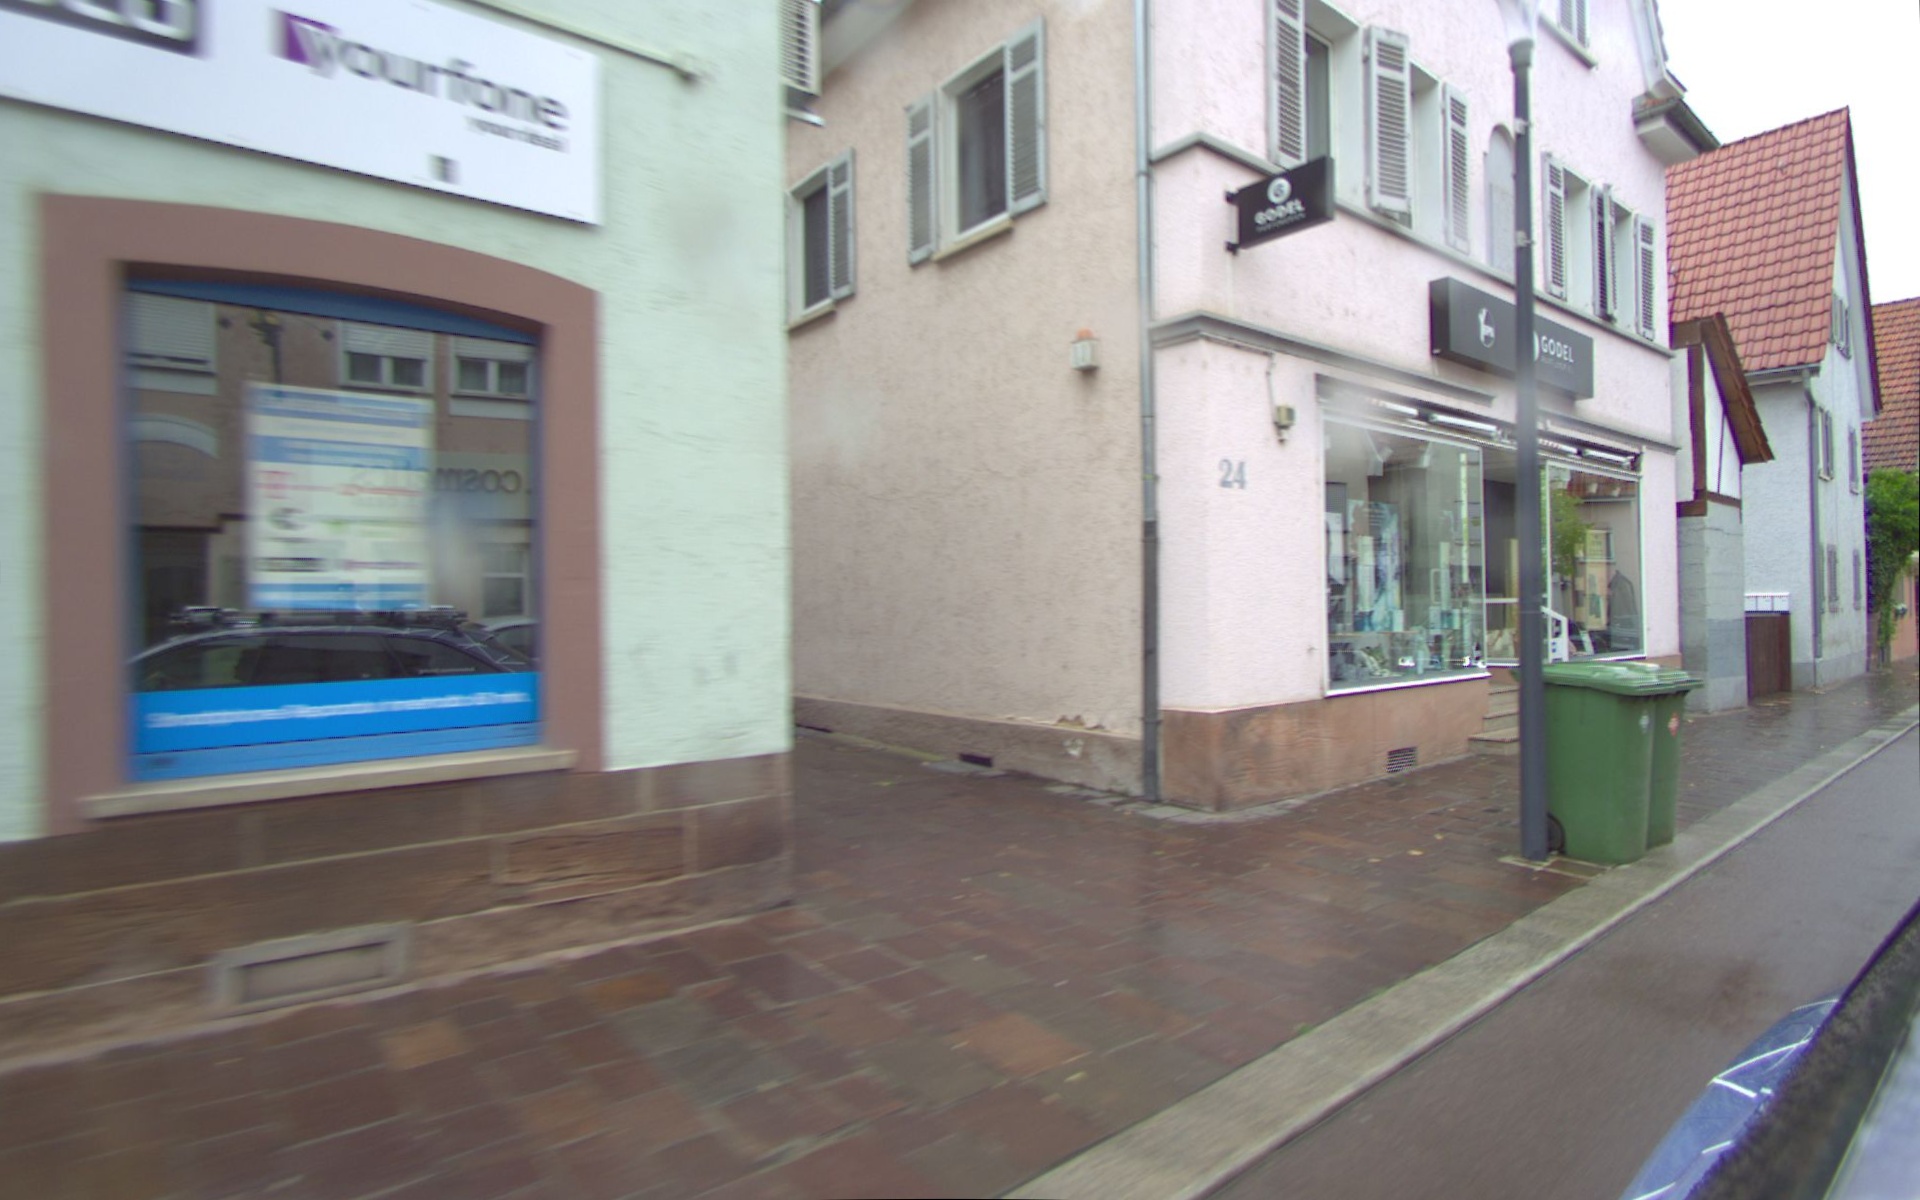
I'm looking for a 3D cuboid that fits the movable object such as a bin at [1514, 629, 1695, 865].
[{"bbox_3d":[3.689,0.787,5.808,0.568,1.216,0.720,-1,0,-39],"label":"movable object such as a bin"}]

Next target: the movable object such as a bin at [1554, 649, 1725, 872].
[{"bbox_3d":[4.153,0.933,6.200,0.563,1.216,0.720,-1,0,-39],"label":"movable object such as a bin"}]
